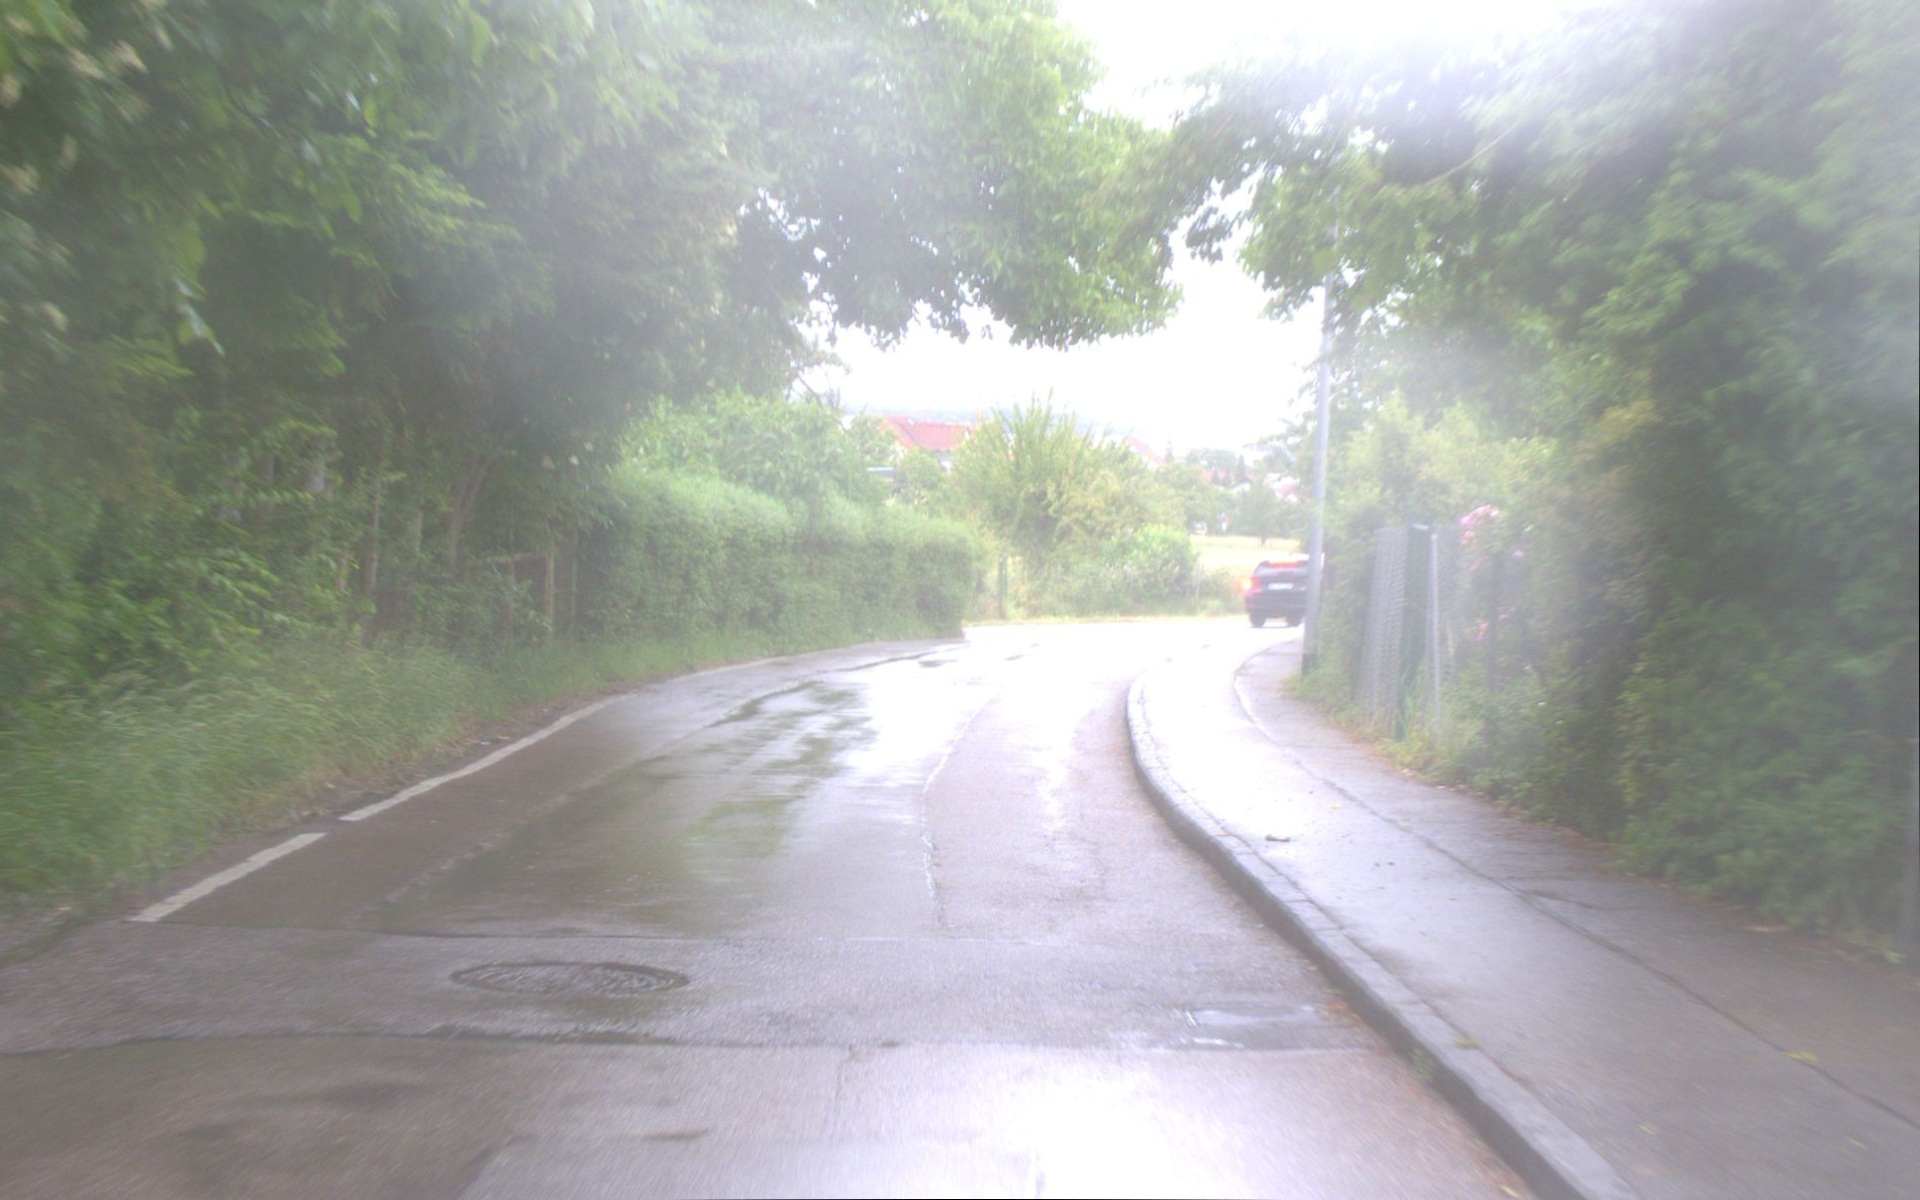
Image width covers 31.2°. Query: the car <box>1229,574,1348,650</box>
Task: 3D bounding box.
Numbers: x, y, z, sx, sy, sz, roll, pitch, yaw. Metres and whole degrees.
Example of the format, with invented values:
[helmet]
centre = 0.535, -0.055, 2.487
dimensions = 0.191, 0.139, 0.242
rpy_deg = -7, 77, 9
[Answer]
[car]
centre = 6.675, 0.262, 69.558
dimensions = 1.636, 1.445, 3.541
rpy_deg = 1, -1, 18
